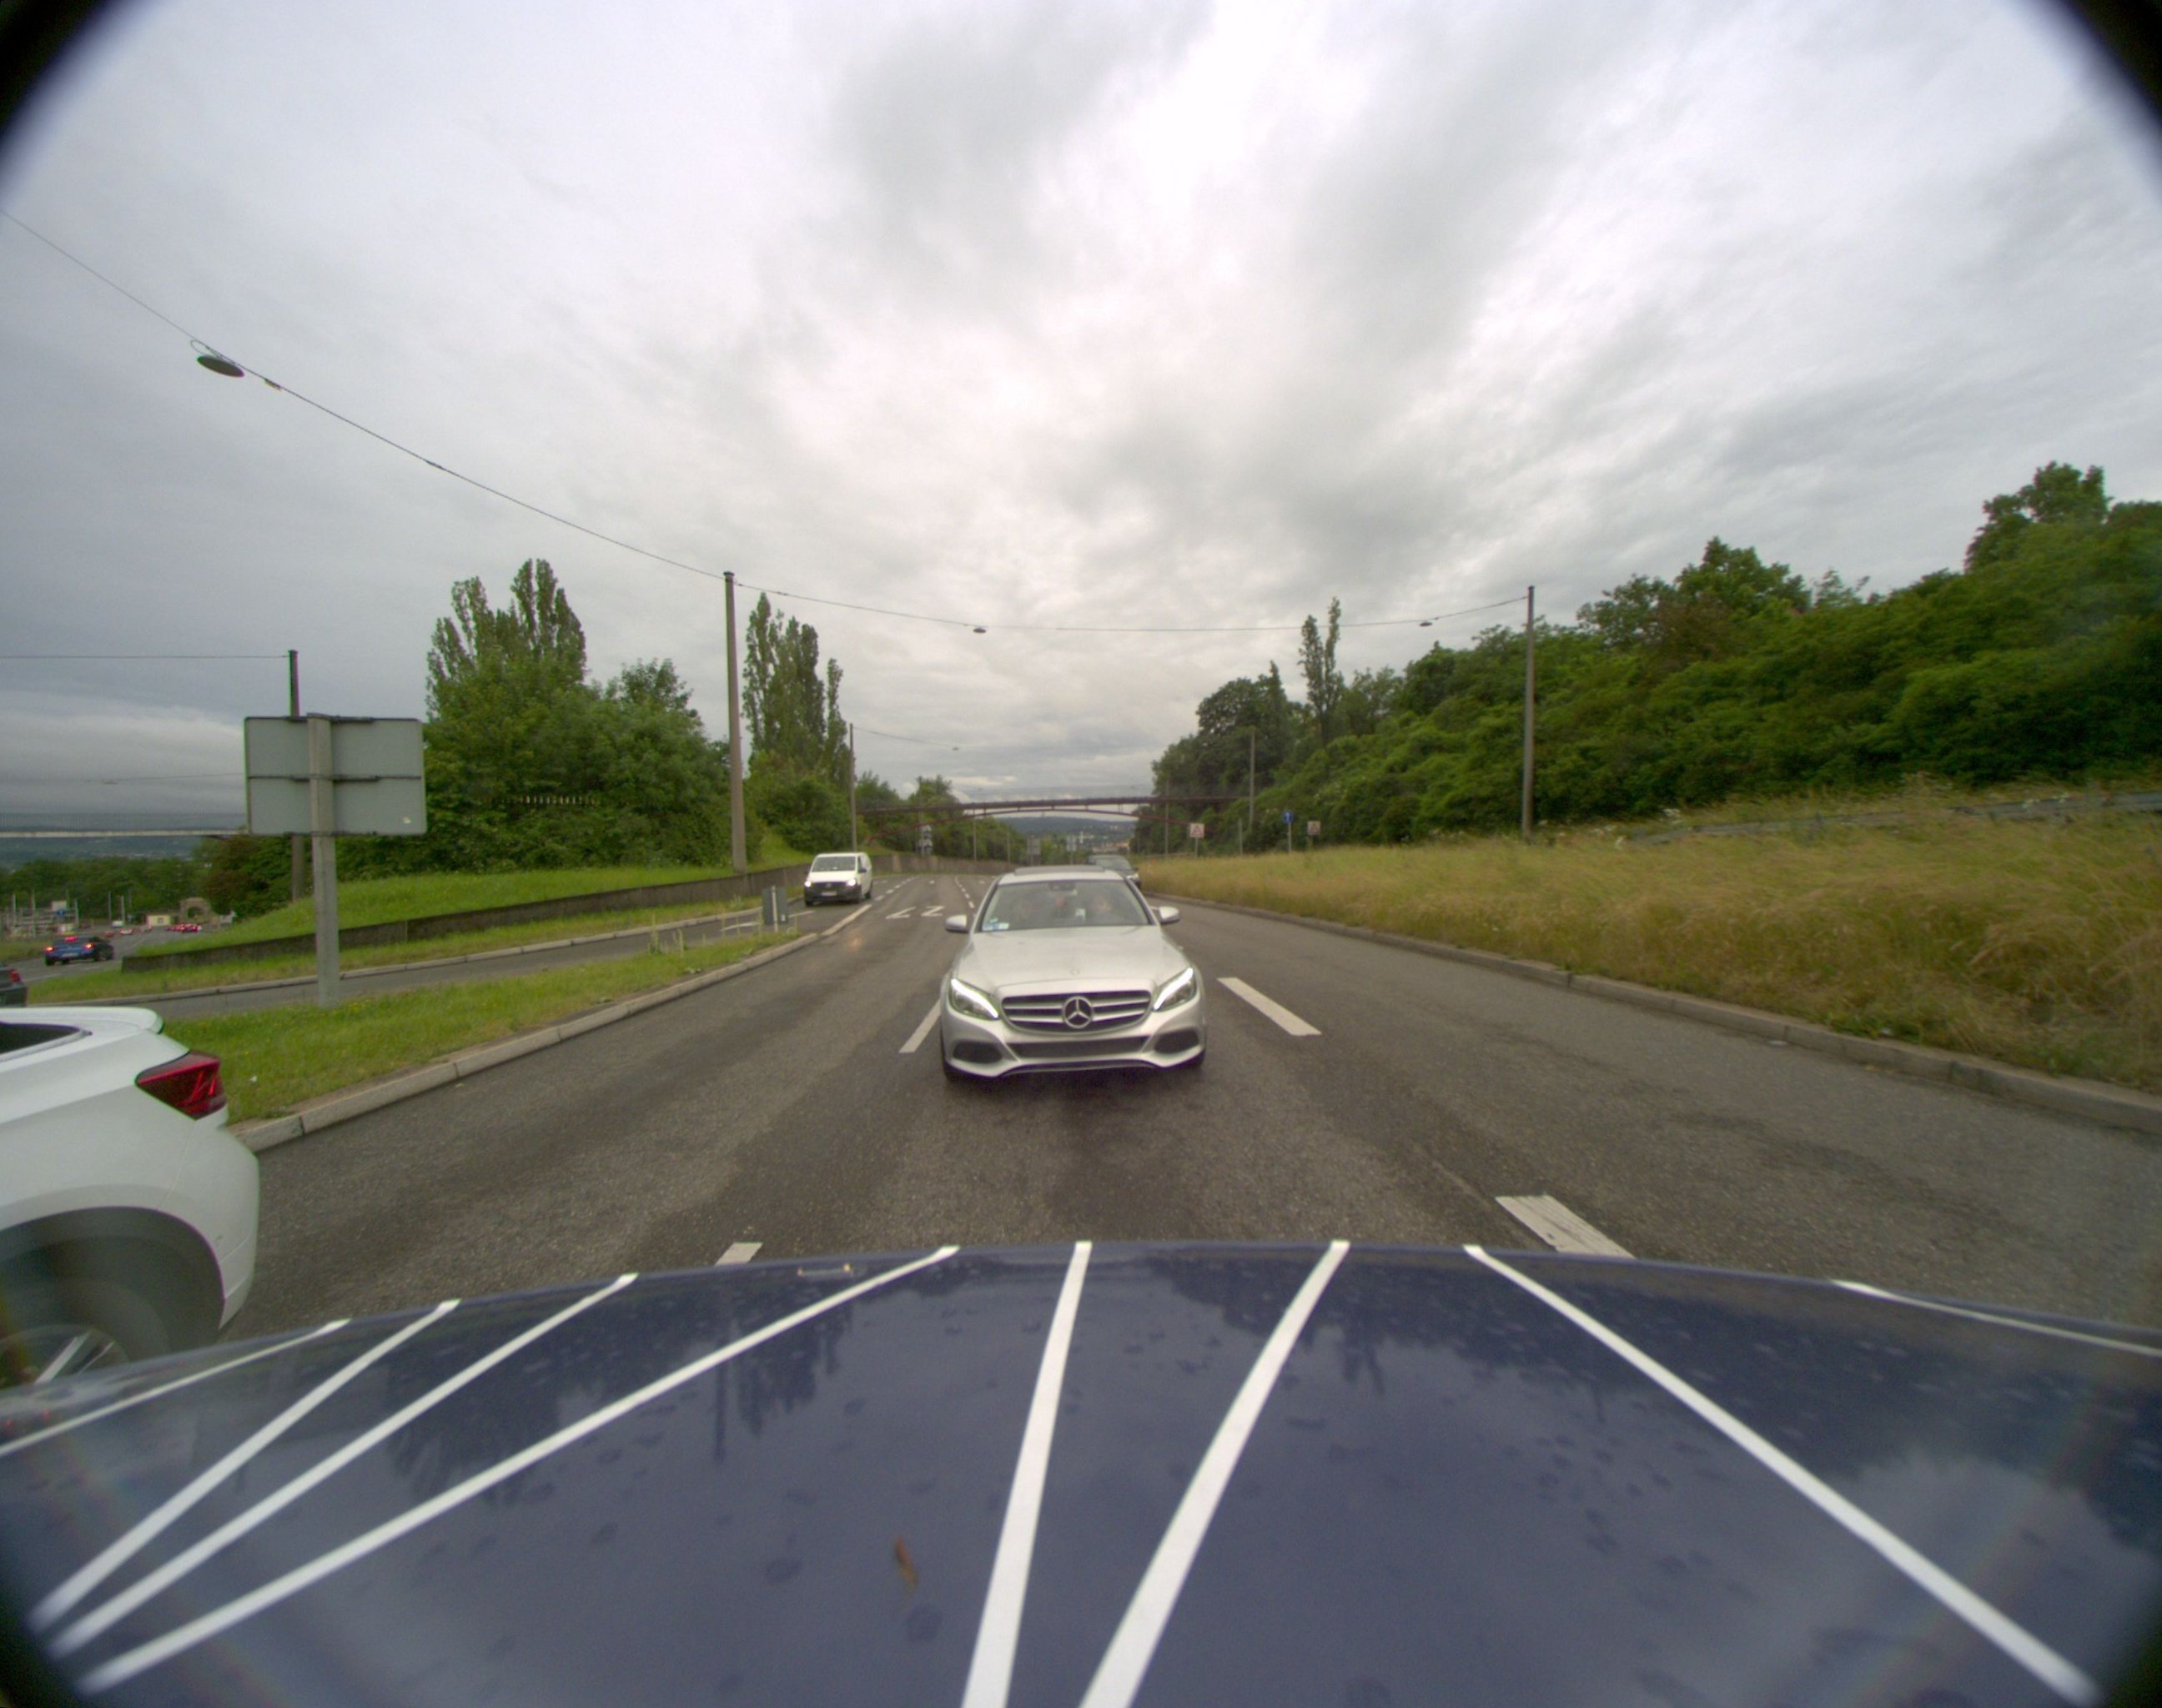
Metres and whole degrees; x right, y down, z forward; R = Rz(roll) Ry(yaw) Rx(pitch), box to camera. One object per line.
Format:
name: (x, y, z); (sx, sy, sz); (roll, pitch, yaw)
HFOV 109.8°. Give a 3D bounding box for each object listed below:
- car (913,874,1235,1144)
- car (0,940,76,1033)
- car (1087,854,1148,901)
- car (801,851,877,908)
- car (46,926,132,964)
car: (-0.211, 0.968, 6.597); (1.895, 1.360, 4.132); (-2, 1, -5)
car: (-19.520, 2.315, 12.318); (4.079, 1.412, 1.685); (-3, 0, 0)
car: (1.264, 0.822, 27.704); (1.647, 1.495, 3.777); (-2, -1, -5)
car: (-8.989, 0.869, 28.624); (2.000, 1.837, 4.819); (-2, 1, -9)
car: (-52.633, 4.805, 40.400); (1.703, 1.467, 4.281); (-3, 1, -38)
